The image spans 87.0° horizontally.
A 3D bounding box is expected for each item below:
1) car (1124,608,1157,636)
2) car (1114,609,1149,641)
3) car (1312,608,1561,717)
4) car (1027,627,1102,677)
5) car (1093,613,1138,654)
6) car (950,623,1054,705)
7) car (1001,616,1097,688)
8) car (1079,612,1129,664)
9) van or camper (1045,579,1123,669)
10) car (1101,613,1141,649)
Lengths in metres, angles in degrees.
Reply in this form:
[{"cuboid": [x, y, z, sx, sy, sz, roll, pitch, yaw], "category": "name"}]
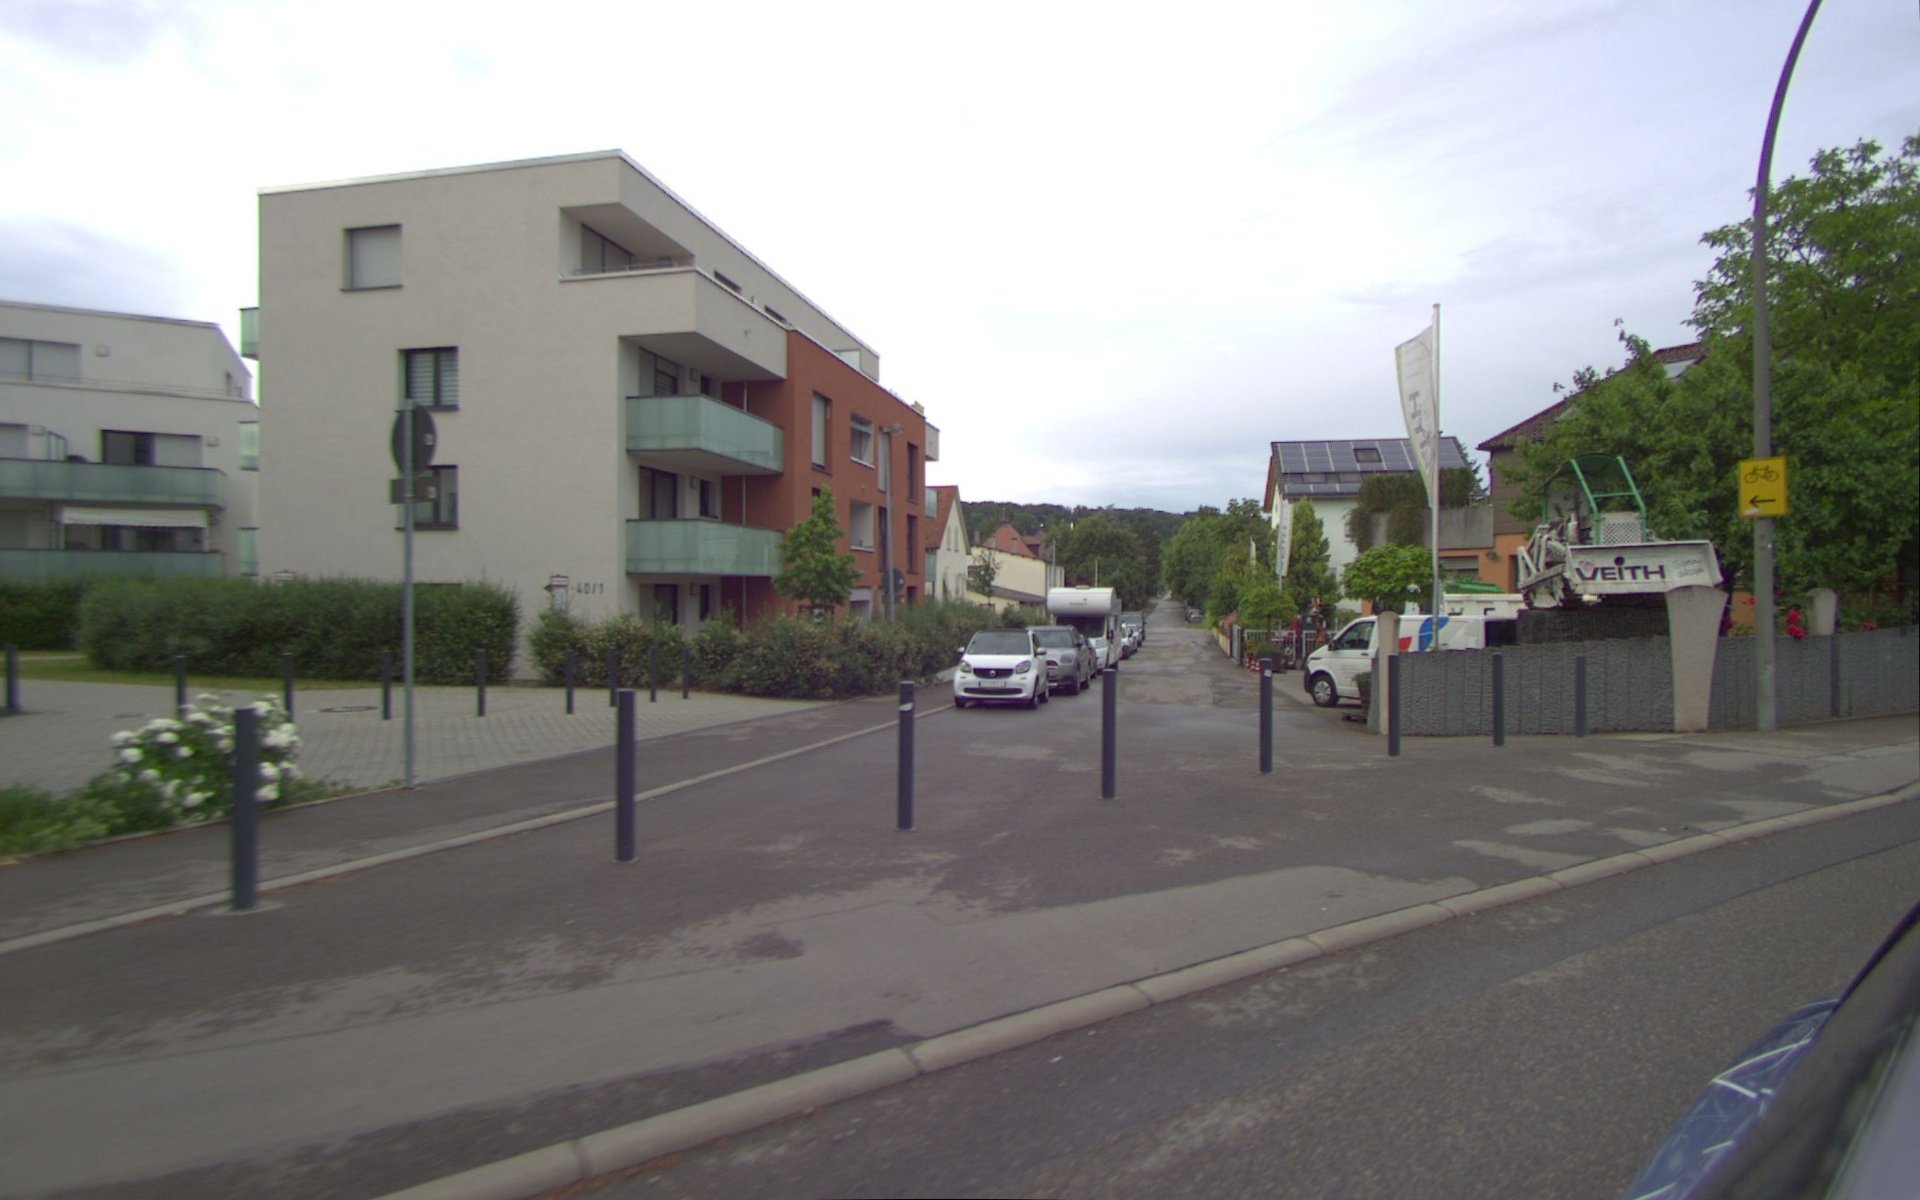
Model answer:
[{"cuboid": [13.060, 1.540, 73.114, 1.888, 1.926, 4.175, 0, 0, 16], "category": "car"}, {"cuboid": [11.160, 1.583, 65.667, 1.887, 1.926, 4.177, 0, 0, 15], "category": "car"}, {"cuboid": [9.226, 1.129, 19.976, 1.959, 1.894, 4.143, 1, -1, -25], "category": "car"}, {"cuboid": [3.191, 1.499, 30.297, 1.753, 1.270, 4.110, 0, 0, 13], "category": "car"}, {"cuboid": [7.977, 1.665, 51.744, 1.887, 1.926, 4.177, 0, 0, 15], "category": "car"}, {"cuboid": [0.924, 1.245, 20.631, 1.701, 1.491, 2.733, 0, -1, 12], "category": "car"}, {"cuboid": [2.299, 1.221, 25.234, 1.825, 1.562, 4.110, 0, 0, 13], "category": "car"}, {"cuboid": [6.087, 1.530, 42.472, 1.968, 2.039, 3.987, 0, 0, 10], "category": "car"}, {"cuboid": [4.665, 0.852, 37.273, 2.291, 3.033, 5.926, 0, -1, 13], "category": "van or camper"}, {"cuboid": [9.147, 1.722, 57.261, 1.887, 1.926, 4.177, 0, 0, 15], "category": "car"}]
